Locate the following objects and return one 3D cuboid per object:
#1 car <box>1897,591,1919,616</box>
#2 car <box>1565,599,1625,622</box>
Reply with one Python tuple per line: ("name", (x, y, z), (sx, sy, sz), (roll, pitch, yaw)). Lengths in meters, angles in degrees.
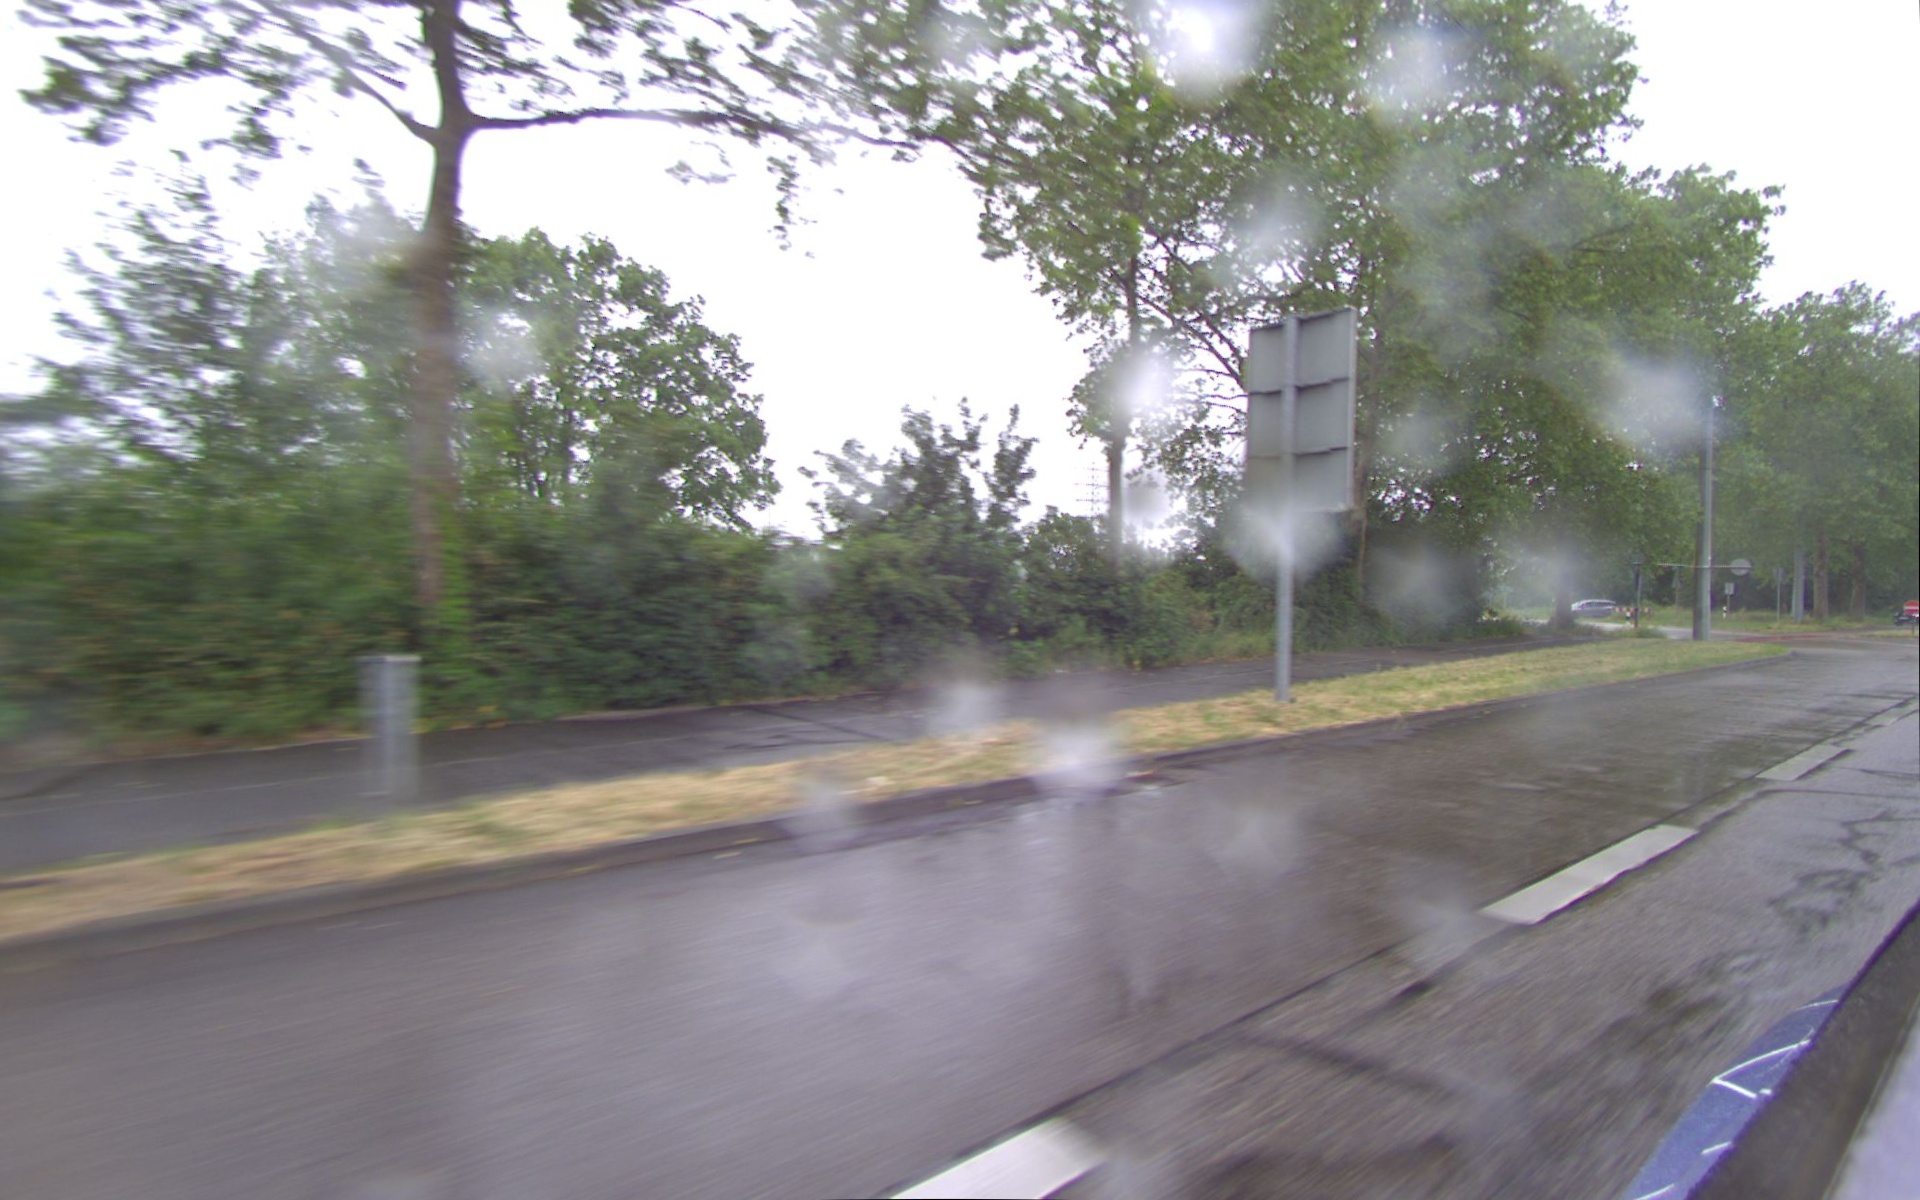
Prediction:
("car", (68.248, 0.256, 70.556), (4.665, 1.724, 1.801), (1, -1, -9))
("car", (44.386, 0.734, 70.842), (3.199, 1.505, 1.604), (1, -1, 14))
